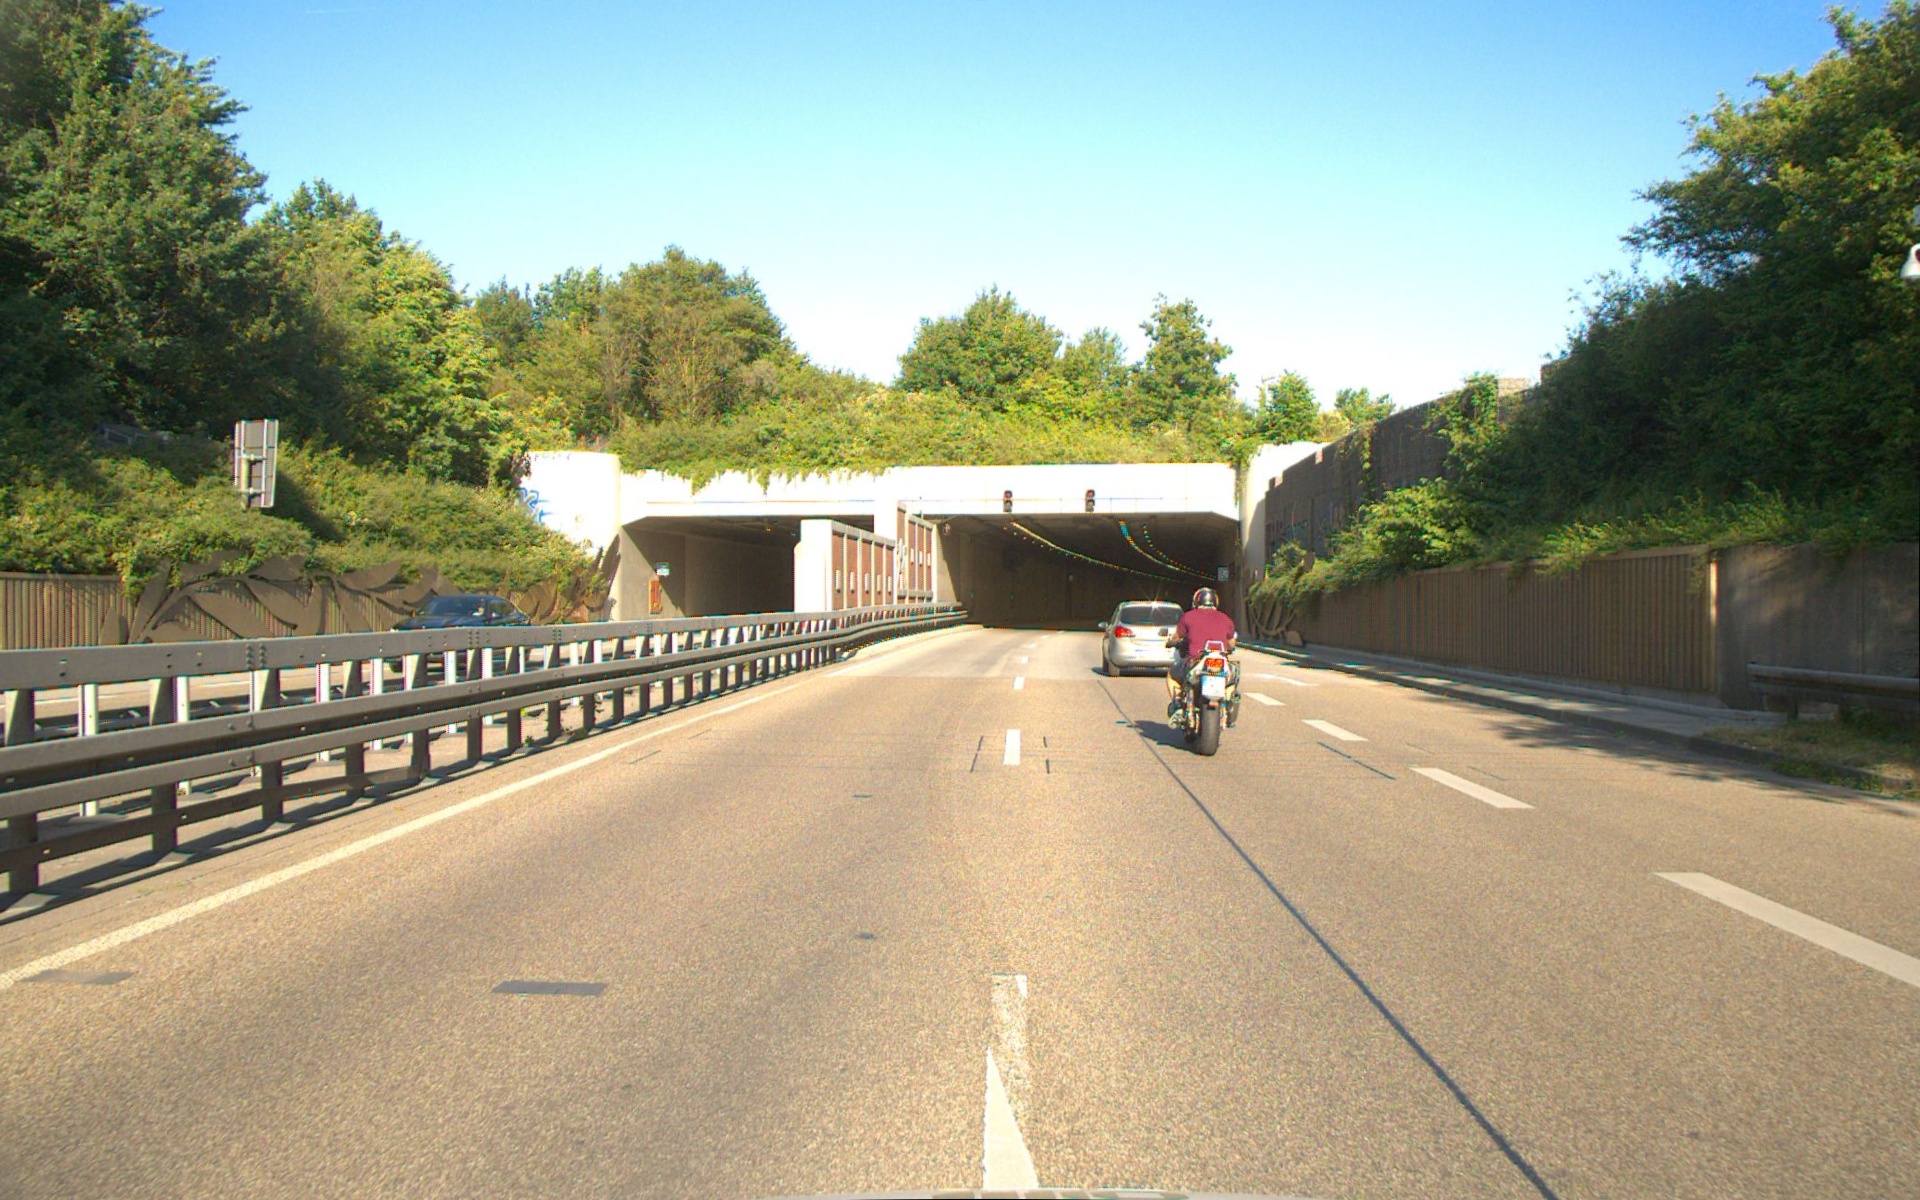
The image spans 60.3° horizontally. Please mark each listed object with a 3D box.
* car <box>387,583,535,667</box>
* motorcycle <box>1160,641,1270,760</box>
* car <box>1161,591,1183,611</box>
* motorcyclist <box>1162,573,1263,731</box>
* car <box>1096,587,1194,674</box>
[{"bbox_3d":[-11.164,0.501,37.327,1.632,1.704,4.865,1,1,3],"label":"car"},{"bbox_3d":[2.519,0.958,16.626,0.840,1.008,2.730,1,0,4],"label":"motorcycle"},{"bbox_3d":[21.313,0.070,166.520,1.951,1.959,4.004,0,1,11],"label":"car"},{"bbox_3d":[2.539,0.500,16.733,0.865,1.527,1.063,1,1,2],"label":"motorcyclist"},{"bbox_3d":[3.692,0.560,33.550,1.632,1.579,4.001,1,1,2],"label":"car"}]
